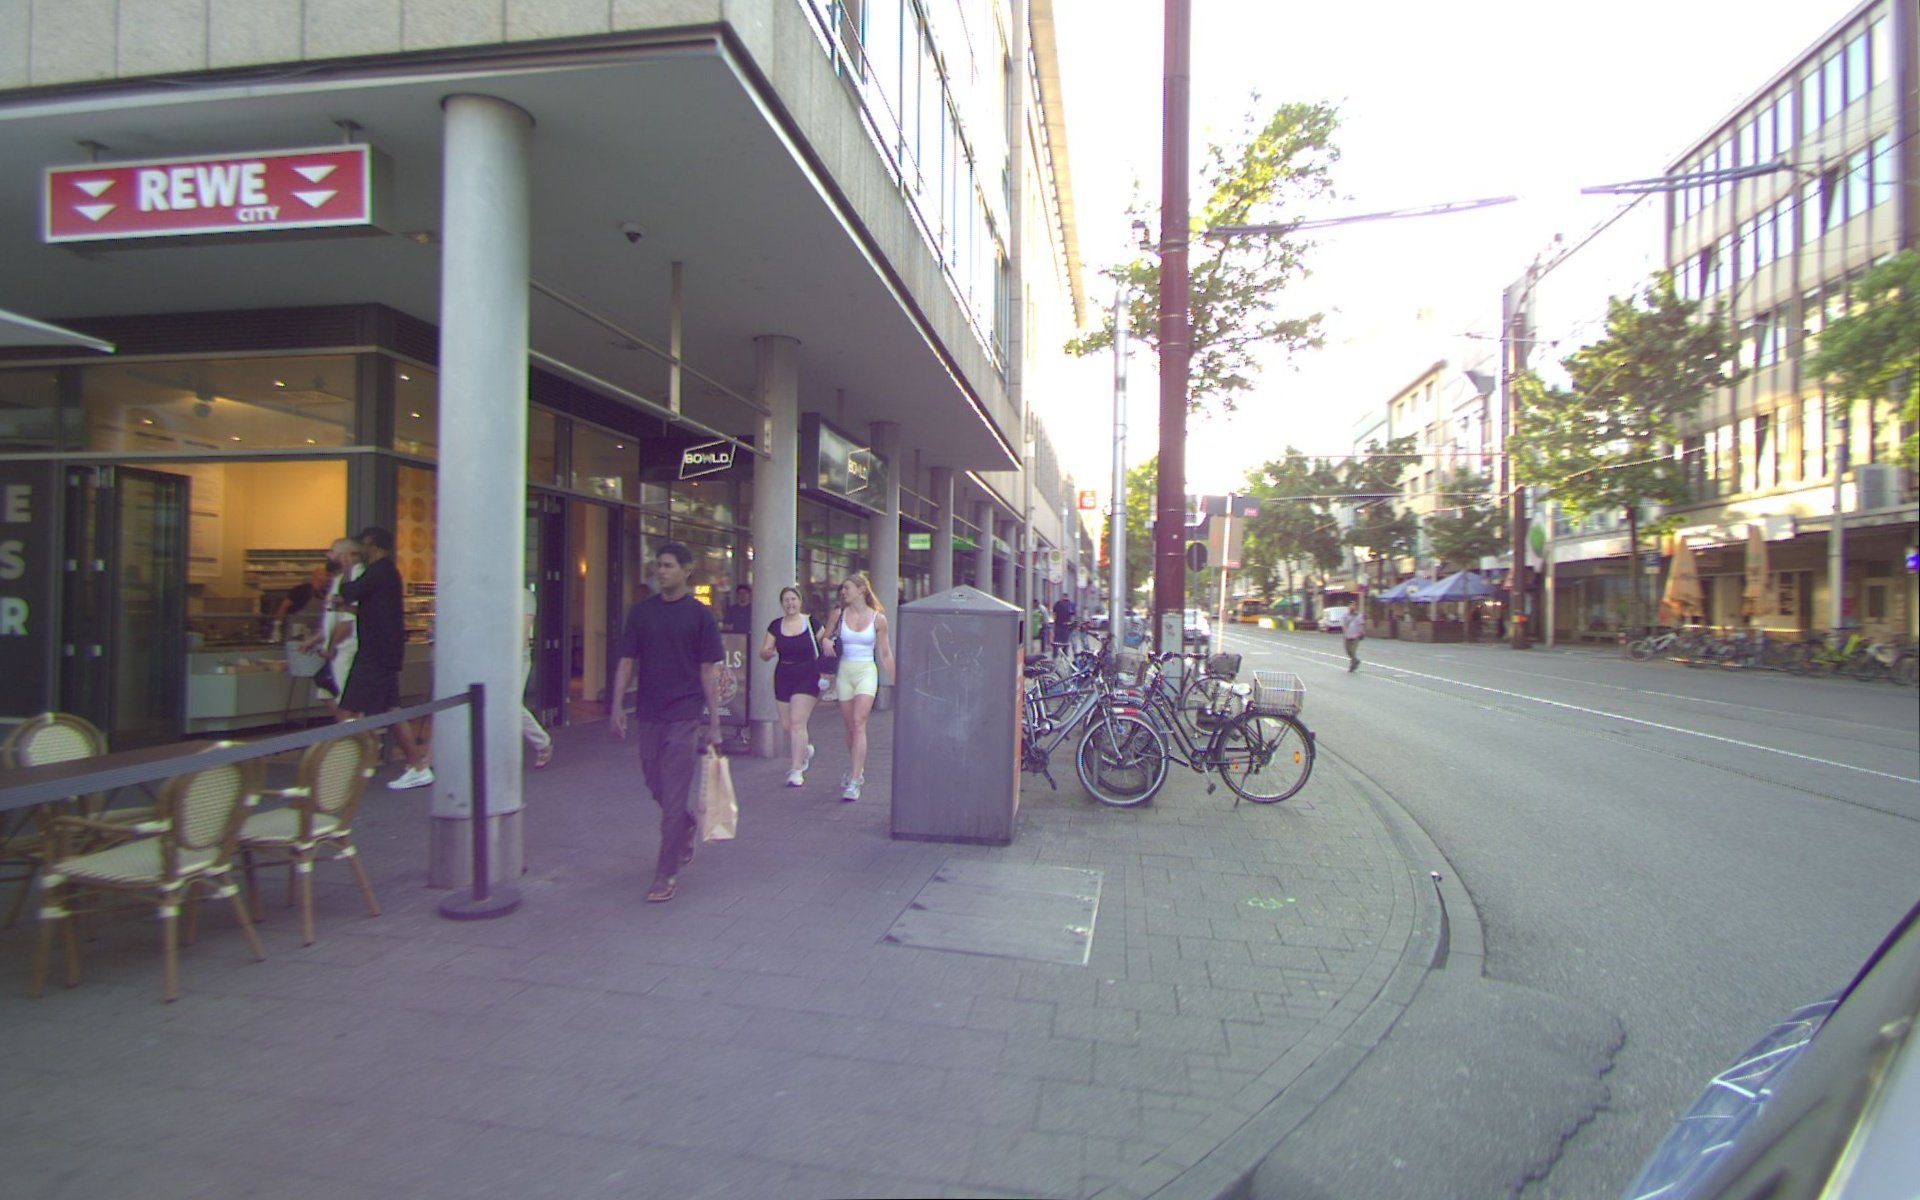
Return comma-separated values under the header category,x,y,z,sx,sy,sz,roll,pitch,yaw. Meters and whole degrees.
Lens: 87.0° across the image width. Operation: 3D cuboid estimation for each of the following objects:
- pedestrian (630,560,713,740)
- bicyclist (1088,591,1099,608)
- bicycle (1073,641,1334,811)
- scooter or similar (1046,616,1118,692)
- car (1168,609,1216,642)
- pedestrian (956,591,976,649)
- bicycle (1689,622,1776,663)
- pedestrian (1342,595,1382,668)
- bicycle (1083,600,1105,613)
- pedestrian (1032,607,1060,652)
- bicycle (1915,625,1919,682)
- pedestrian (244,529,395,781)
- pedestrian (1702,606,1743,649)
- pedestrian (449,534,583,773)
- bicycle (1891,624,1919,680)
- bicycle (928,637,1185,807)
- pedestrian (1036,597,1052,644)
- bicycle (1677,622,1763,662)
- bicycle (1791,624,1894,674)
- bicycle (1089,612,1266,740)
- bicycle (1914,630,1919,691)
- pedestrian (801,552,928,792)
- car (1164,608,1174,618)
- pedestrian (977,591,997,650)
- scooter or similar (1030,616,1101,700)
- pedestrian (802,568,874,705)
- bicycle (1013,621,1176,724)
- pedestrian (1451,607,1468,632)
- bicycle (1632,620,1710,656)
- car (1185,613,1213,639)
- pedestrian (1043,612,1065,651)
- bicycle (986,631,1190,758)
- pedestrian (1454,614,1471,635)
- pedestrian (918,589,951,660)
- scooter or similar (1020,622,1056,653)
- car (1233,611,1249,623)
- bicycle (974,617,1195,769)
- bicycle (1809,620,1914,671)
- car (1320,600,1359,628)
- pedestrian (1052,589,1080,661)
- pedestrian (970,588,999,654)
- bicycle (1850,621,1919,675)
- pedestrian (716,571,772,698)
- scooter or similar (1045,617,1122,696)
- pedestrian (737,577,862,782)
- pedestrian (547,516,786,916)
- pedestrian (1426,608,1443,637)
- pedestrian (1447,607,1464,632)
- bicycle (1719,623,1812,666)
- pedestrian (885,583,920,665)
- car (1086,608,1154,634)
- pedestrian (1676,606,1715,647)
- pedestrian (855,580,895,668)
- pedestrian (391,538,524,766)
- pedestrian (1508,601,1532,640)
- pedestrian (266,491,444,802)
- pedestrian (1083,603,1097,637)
category,x,y,z,sx,sy,sz,roll,pitch,yaw
pedestrian,-2.914,0.489,10.263,0.562,1.753,0.615,1,-1,9
bicyclist,11.322,-0.028,85.738,0.883,1.432,0.759,-1,0,10
bicycle,1.797,0.919,7.702,1.827,1.123,0.665,2,-1,8
scooter or similar,2.086,0.929,17.352,1.092,1.267,0.498,2,-2,-20
car,11.040,1.190,48.005,1.776,1.426,4.538,-2,-1,18
pedestrian,0.192,0.643,32.303,0.532,1.829,0.602,1,-1,9
bicycle,19.864,1.093,26.053,1.746,1.003,0.488,-1,-2,5
pedestrian,10.195,0.795,25.686,0.811,1.816,0.985,-2,-2,17
bicycle,11.351,0.546,85.738,1.835,1.087,0.731,0,0,10
pedestrian,2.689,0.913,31.520,0.803,1.398,0.660,0,-1,12
bicycle,19.421,1.008,19.332,1.746,1.085,0.488,-2,-2,5
pedestrian,-5.025,0.407,7.970,0.656,1.872,0.715,1,-1,16
pedestrian,24.730,0.877,32.830,0.661,1.342,0.910,-2,-1,9
pedestrian,-3.548,0.403,8.130,0.654,1.809,0.717,1,-1,11
bicycle,19.458,1.000,19.879,1.746,1.085,0.488,-2,-2,5
bicycle,0.731,0.886,7.674,1.827,1.123,0.665,2,-1,8
pedestrian,3.559,0.850,42.956,0.570,1.969,0.653,1,-1,10
bicycle,19.943,1.096,26.574,1.746,1.003,0.488,-1,-2,5
bicycle,19.927,1.095,22.870,1.746,1.085,0.488,-2,-2,5
bicycle,2.500,0.859,11.825,1.888,1.350,0.724,3,-1,6
bicycle,16.769,1.033,16.708,0.481,1.058,1.774,0,-1,7
pedestrian,-0.708,0.521,7.767,0.791,1.716,0.809,1,-1,6
car,42.184,2.575,204.177,1.968,2.039,3.987,1,-1,10
pedestrian,0.852,0.637,31.927,0.532,1.829,0.602,1,-1,9
scooter or similar,1.656,0.897,15.799,1.170,1.267,0.392,3,-2,-42
pedestrian,-1.656,0.484,13.880,0.763,1.795,0.772,1,-1,9
bicycle,1.694,0.908,12.942,1.967,1.170,0.724,3,-1,6
pedestrian,29.919,1.171,60.617,0.652,1.452,0.641,-4,-1,10
bicycle,20.546,1.103,29.274,1.760,0.978,0.485,-2,-1,28
car,19.194,2.073,81.349,1.968,2.039,3.987,1,-1,10
pedestrian,3.239,1.065,34.912,0.709,1.331,0.522,0,-1,12
bicycle,1.246,0.905,10.046,1.888,1.091,0.762,3,-1,6
pedestrian,29.291,1.443,59.015,0.632,1.171,0.664,-2,-1,8
pedestrian,-0.617,0.592,24.547,0.640,1.682,0.678,1,-1,11
scooter or similar,2.265,1.086,29.388,0.827,0.895,0.681,-2,-1,25
car,36.926,2.290,133.064,1.771,1.529,3.987,1,-1,10
bicycle,1.120,0.820,9.314,1.888,1.238,0.762,3,-1,6
bicycle,19.849,1.002,22.302,1.746,1.085,0.488,-2,-2,5
car,27.095,0.998,72.351,1.803,1.845,4.313,-3,-1,11
pedestrian,2.818,0.642,26.739,0.660,1.863,0.706,1,-1,10
pedestrian,0.716,0.605,29.151,0.660,1.863,0.877,1,-1,10
bicycle,19.691,0.984,21.073,1.746,1.085,0.488,-2,-2,5
pedestrian,-3.081,0.482,14.476,0.562,1.753,0.615,1,-1,9
scooter or similar,2.022,0.922,16.551,1.166,1.267,0.394,2,-2,-19
pedestrian,-1.281,0.613,8.224,0.791,1.556,0.809,1,-1,6
pedestrian,-1.391,0.500,4.955,0.754,1.740,0.920,1,0,11
pedestrian,26.766,1.261,57.052,0.647,1.572,0.564,-2,-1,8
pedestrian,30.028,1.175,61.326,0.652,1.452,0.641,-4,-1,10
bicycle,19.623,1.085,24.665,1.746,1.003,0.488,-1,-2,5
pedestrian,-1.258,0.522,22.324,0.574,1.775,0.771,1,-1,9
car,11.704,1.540,73.926,4.540,1.651,1.921,3,-3,-22
pedestrian,24.722,0.891,34.043,0.661,1.342,0.910,-2,-1,9
pedestrian,-1.890,0.527,22.514,0.678,1.907,0.771,1,-1,9
pedestrian,-4.179,0.409,8.457,0.654,1.809,0.717,1,-1,11
pedestrian,27.076,0.989,48.934,0.675,1.815,0.987,-2,-1,11
pedestrian,-4.209,0.300,7.087,0.678,2.039,0.780,1,-1,11
pedestrian,6.359,0.979,49.512,0.660,1.608,0.636,-1,-1,10
